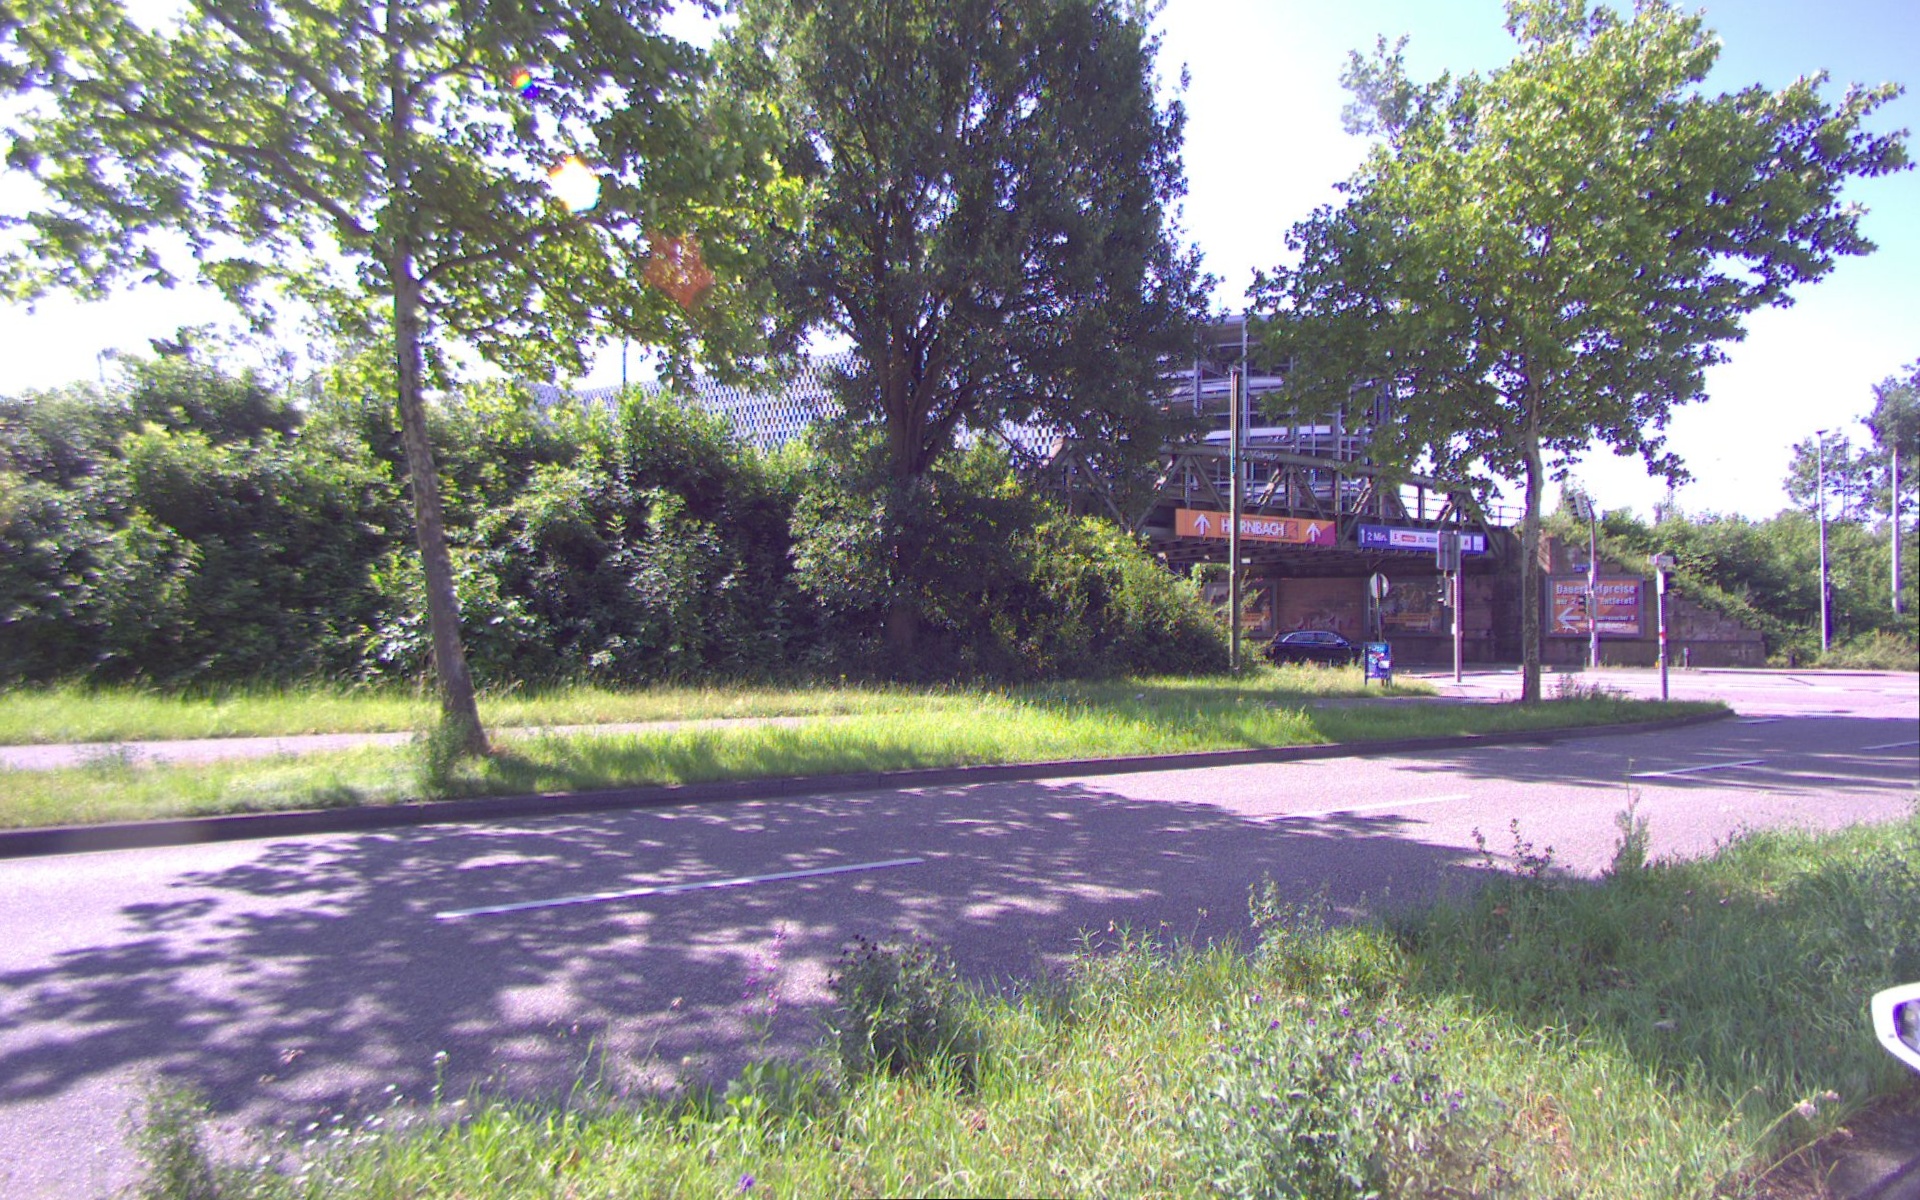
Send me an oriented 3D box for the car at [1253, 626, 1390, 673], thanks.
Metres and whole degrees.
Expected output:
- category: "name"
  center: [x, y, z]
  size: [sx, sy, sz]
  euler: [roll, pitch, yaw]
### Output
- category: "car"
  center: [14.195, 1.920, 39.474]
  size: [4.956, 1.617, 1.526]
  euler: [1, -1, 24]
